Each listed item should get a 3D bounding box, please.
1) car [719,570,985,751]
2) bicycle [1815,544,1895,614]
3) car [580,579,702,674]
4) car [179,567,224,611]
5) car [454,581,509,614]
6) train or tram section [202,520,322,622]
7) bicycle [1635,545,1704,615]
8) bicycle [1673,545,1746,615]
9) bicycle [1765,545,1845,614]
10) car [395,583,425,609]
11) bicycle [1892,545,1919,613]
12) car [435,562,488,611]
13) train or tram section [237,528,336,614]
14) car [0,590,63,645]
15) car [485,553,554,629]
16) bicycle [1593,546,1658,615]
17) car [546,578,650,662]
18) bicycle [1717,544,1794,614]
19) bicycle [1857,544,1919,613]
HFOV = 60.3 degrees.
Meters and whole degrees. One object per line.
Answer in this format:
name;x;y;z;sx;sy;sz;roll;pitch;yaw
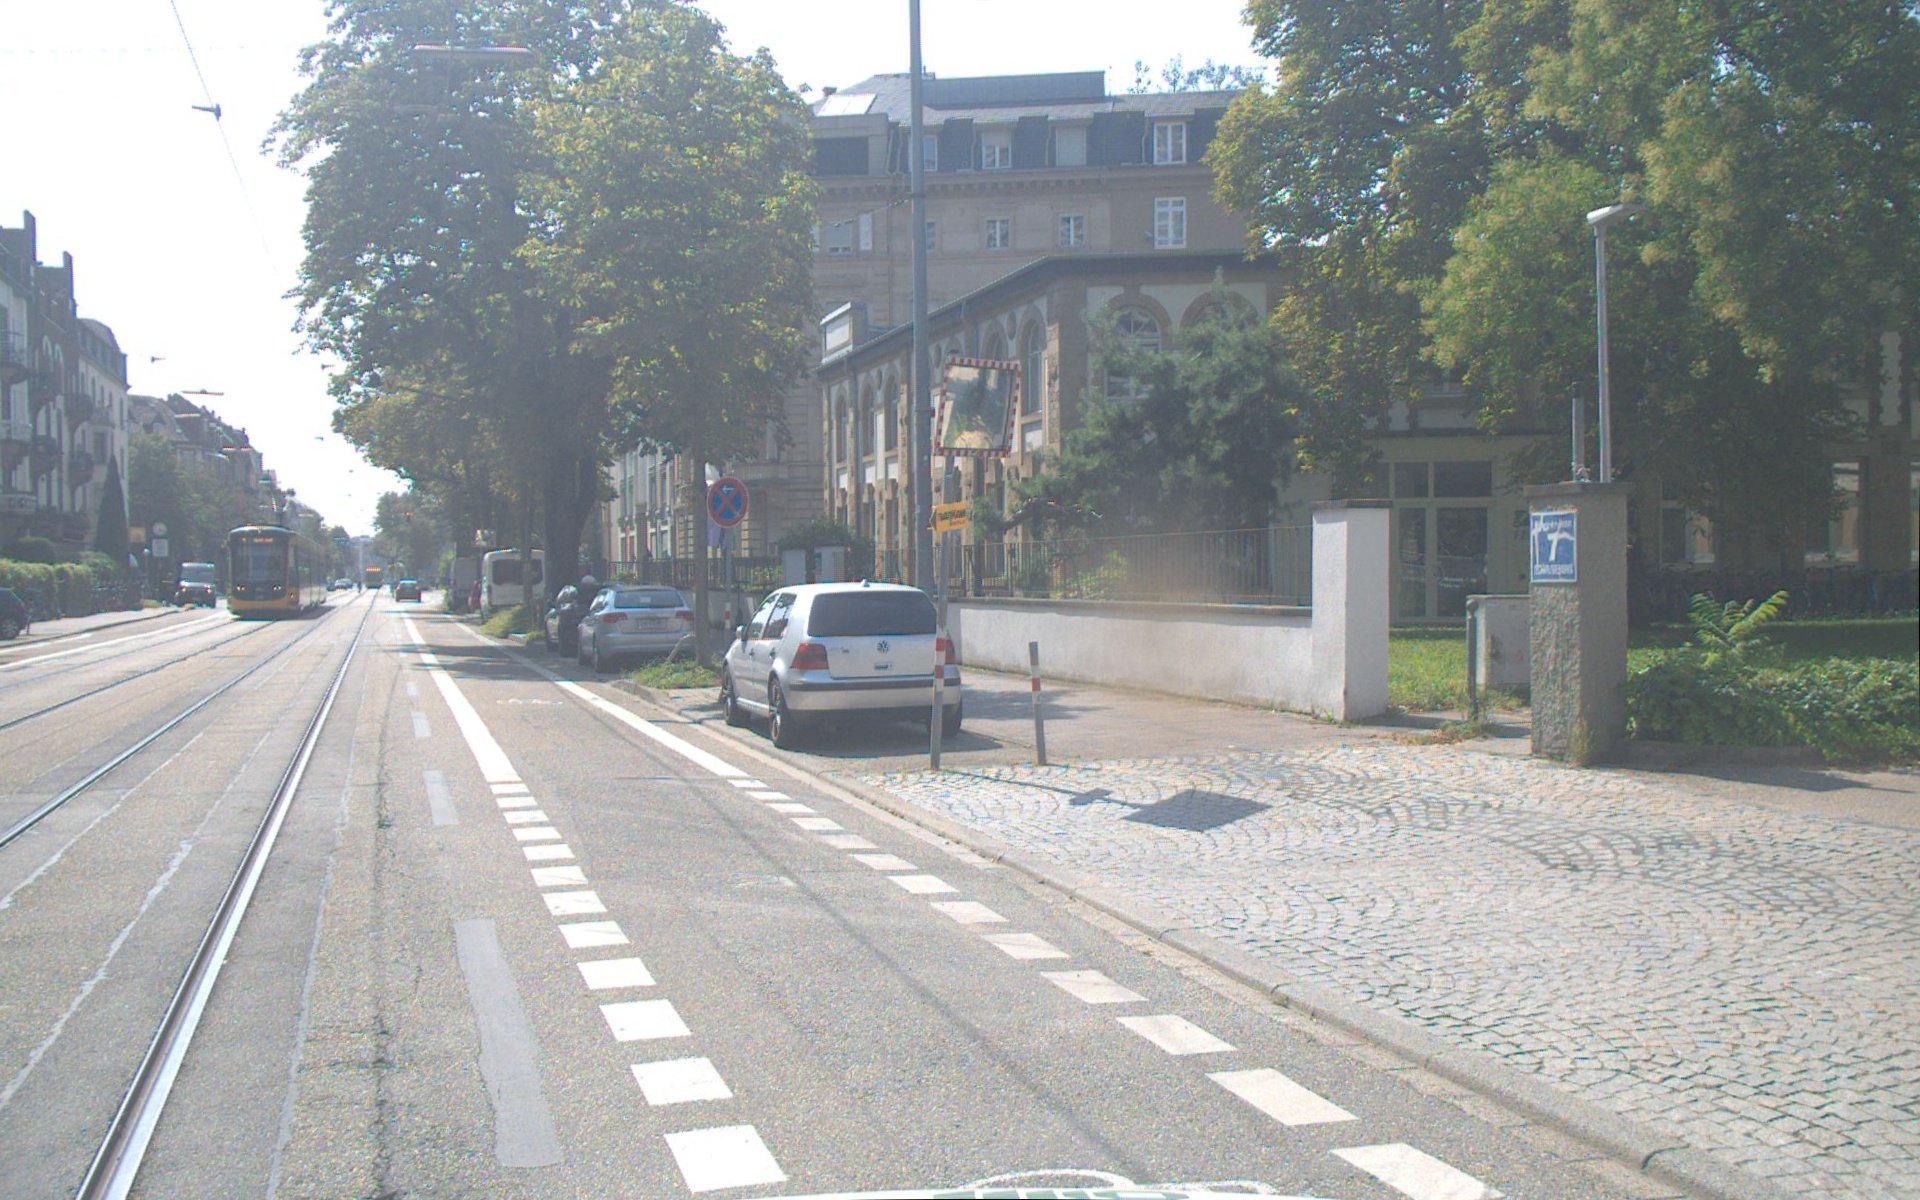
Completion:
car;-1.161;0.493;15.953;1.763;1.471;3.716;-2;1;-17
bicycle;17.679;-0.401;32.718;0.753;1.325;2.275;0;0;11
car;-5.588;0.418;28.694;1.616;1.538;3.621;0;0;-19
car;-44.314;-0.634;96.674;2.211;2.484;3.973;0;0;-22
car;-21.299;-0.134;73.503;1.966;1.422;3.974;-1;1;-22
train or tram section;-28.217;-1.182;67.410;3.443;3.769;12.349;0;1;-18
bicycle;14.023;-0.386;32.749;0.753;1.325;2.528;0;0;11
bicycle;14.823;-0.390;32.764;0.753;1.325;2.528;0;0;11
bicycle;16.749;-0.397;32.858;0.753;1.325;2.528;0;0;11
car;-38.787;-0.280;116.627;1.963;1.832;3.978;0;0;-19
bicycle;19.082;-0.418;32.581;0.594;1.325;2.175;0;0;11
car;-24.117;-0.647;79.971;1.967;2.272;3.970;-1;1;-24
train or tram section;-32.034;-1.384;79.154;3.443;3.769;12.349;0;1;-18
car;-28.301;0.503;48.105;1.640;1.602;3.581;0;0;29
car;-14.620;-0.293;54.748;1.963;2.407;3.978;0;0;-19
bicycle;13.260;-0.379;33.028;0.753;1.325;2.528;0;0;11
car;-7.524;0.364;34.100;1.766;1.604;3.981;-1;1;-17
bicycle;15.714;-0.401;32.730;0.753;1.325;2.528;0;0;11
bicycle;18.441;-0.413;32.658;0.612;1.325;2.275;0;0;11
